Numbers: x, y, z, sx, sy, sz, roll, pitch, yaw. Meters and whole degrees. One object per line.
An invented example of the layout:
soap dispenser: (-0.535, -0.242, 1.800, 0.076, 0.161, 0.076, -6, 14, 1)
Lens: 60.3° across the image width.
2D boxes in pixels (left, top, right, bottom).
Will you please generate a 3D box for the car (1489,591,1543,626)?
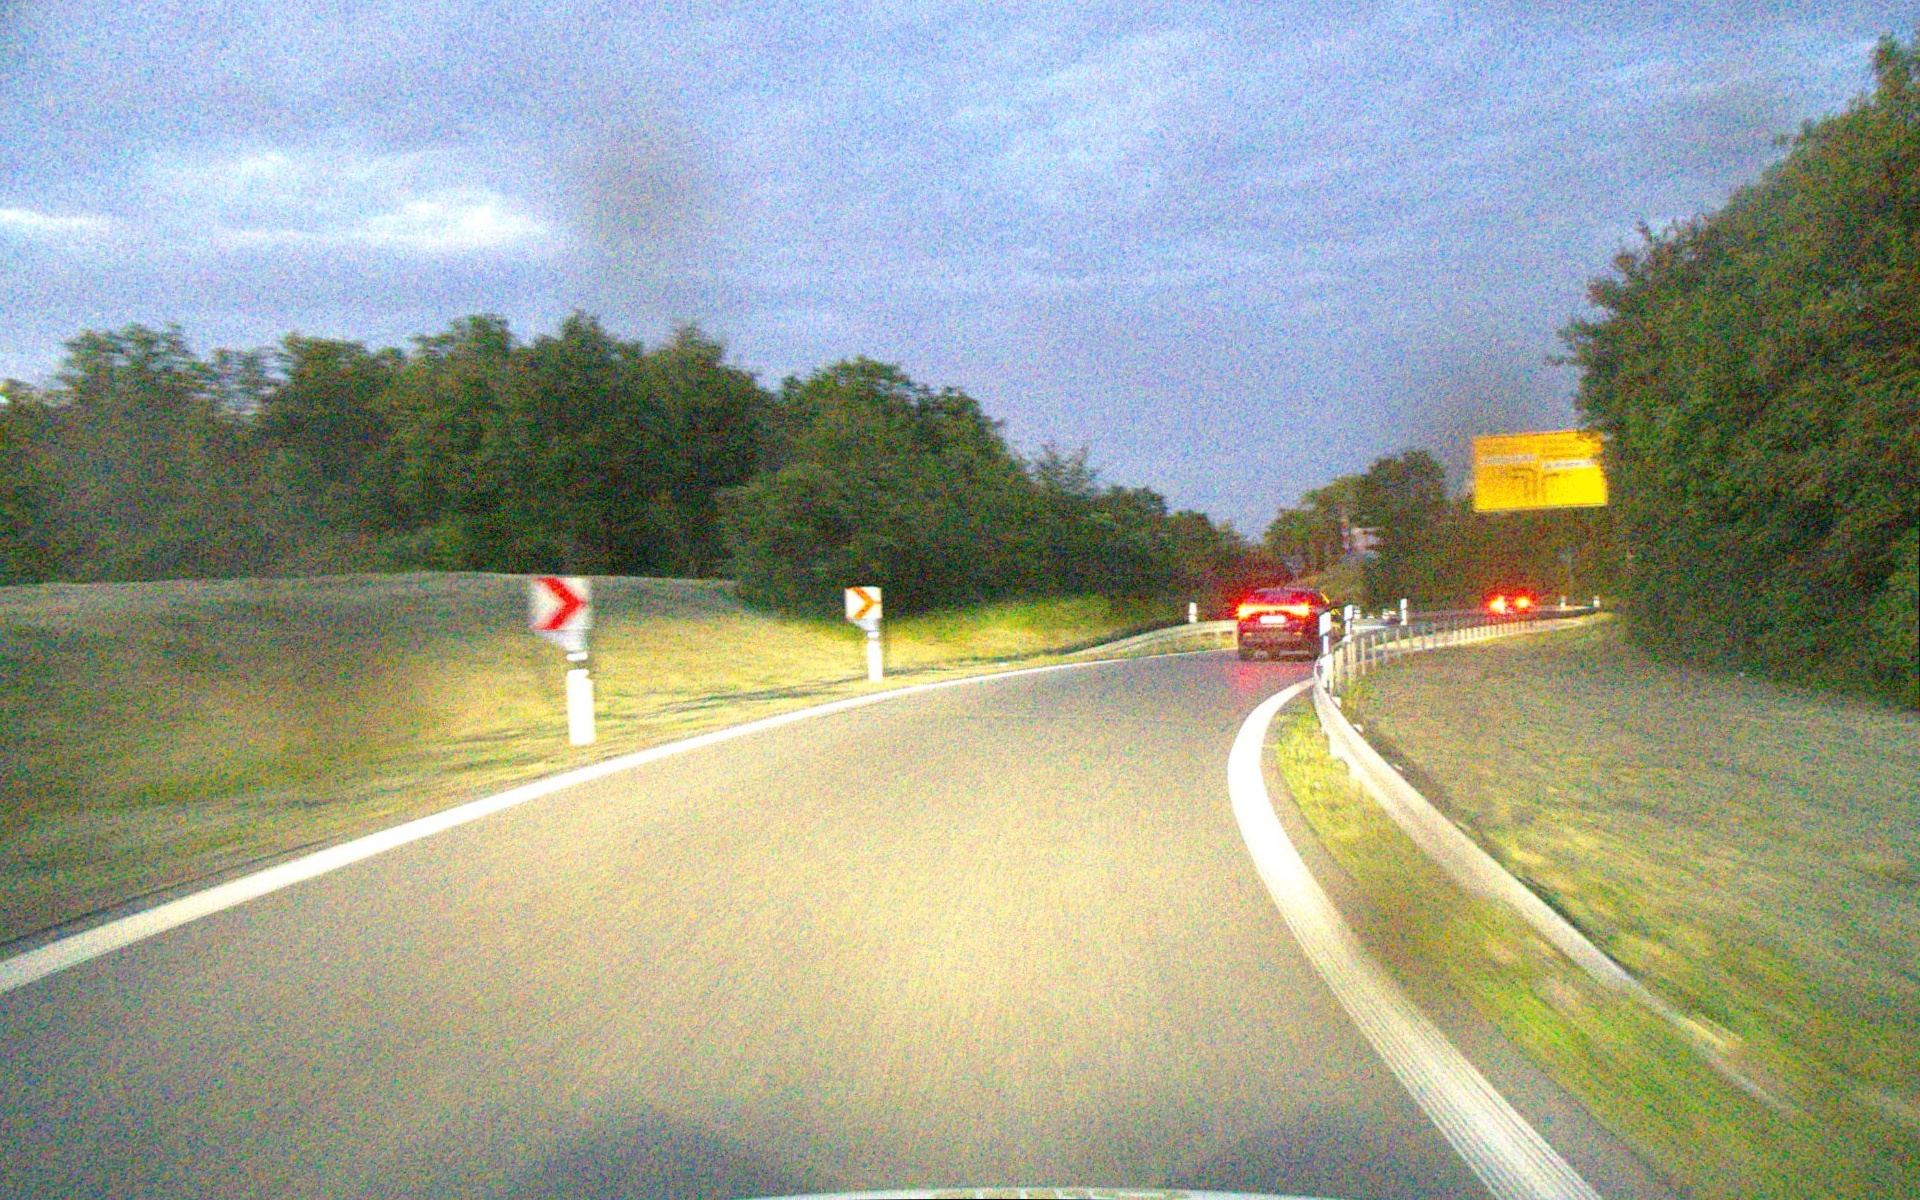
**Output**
car: (26.948, 0.381, 80.053, 1.955, 1.626, 3.996, -1, 0, 26)

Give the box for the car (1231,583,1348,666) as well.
car: (7.584, 0.601, 37.766, 1.952, 1.688, 4.315, -3, -3, 20)
